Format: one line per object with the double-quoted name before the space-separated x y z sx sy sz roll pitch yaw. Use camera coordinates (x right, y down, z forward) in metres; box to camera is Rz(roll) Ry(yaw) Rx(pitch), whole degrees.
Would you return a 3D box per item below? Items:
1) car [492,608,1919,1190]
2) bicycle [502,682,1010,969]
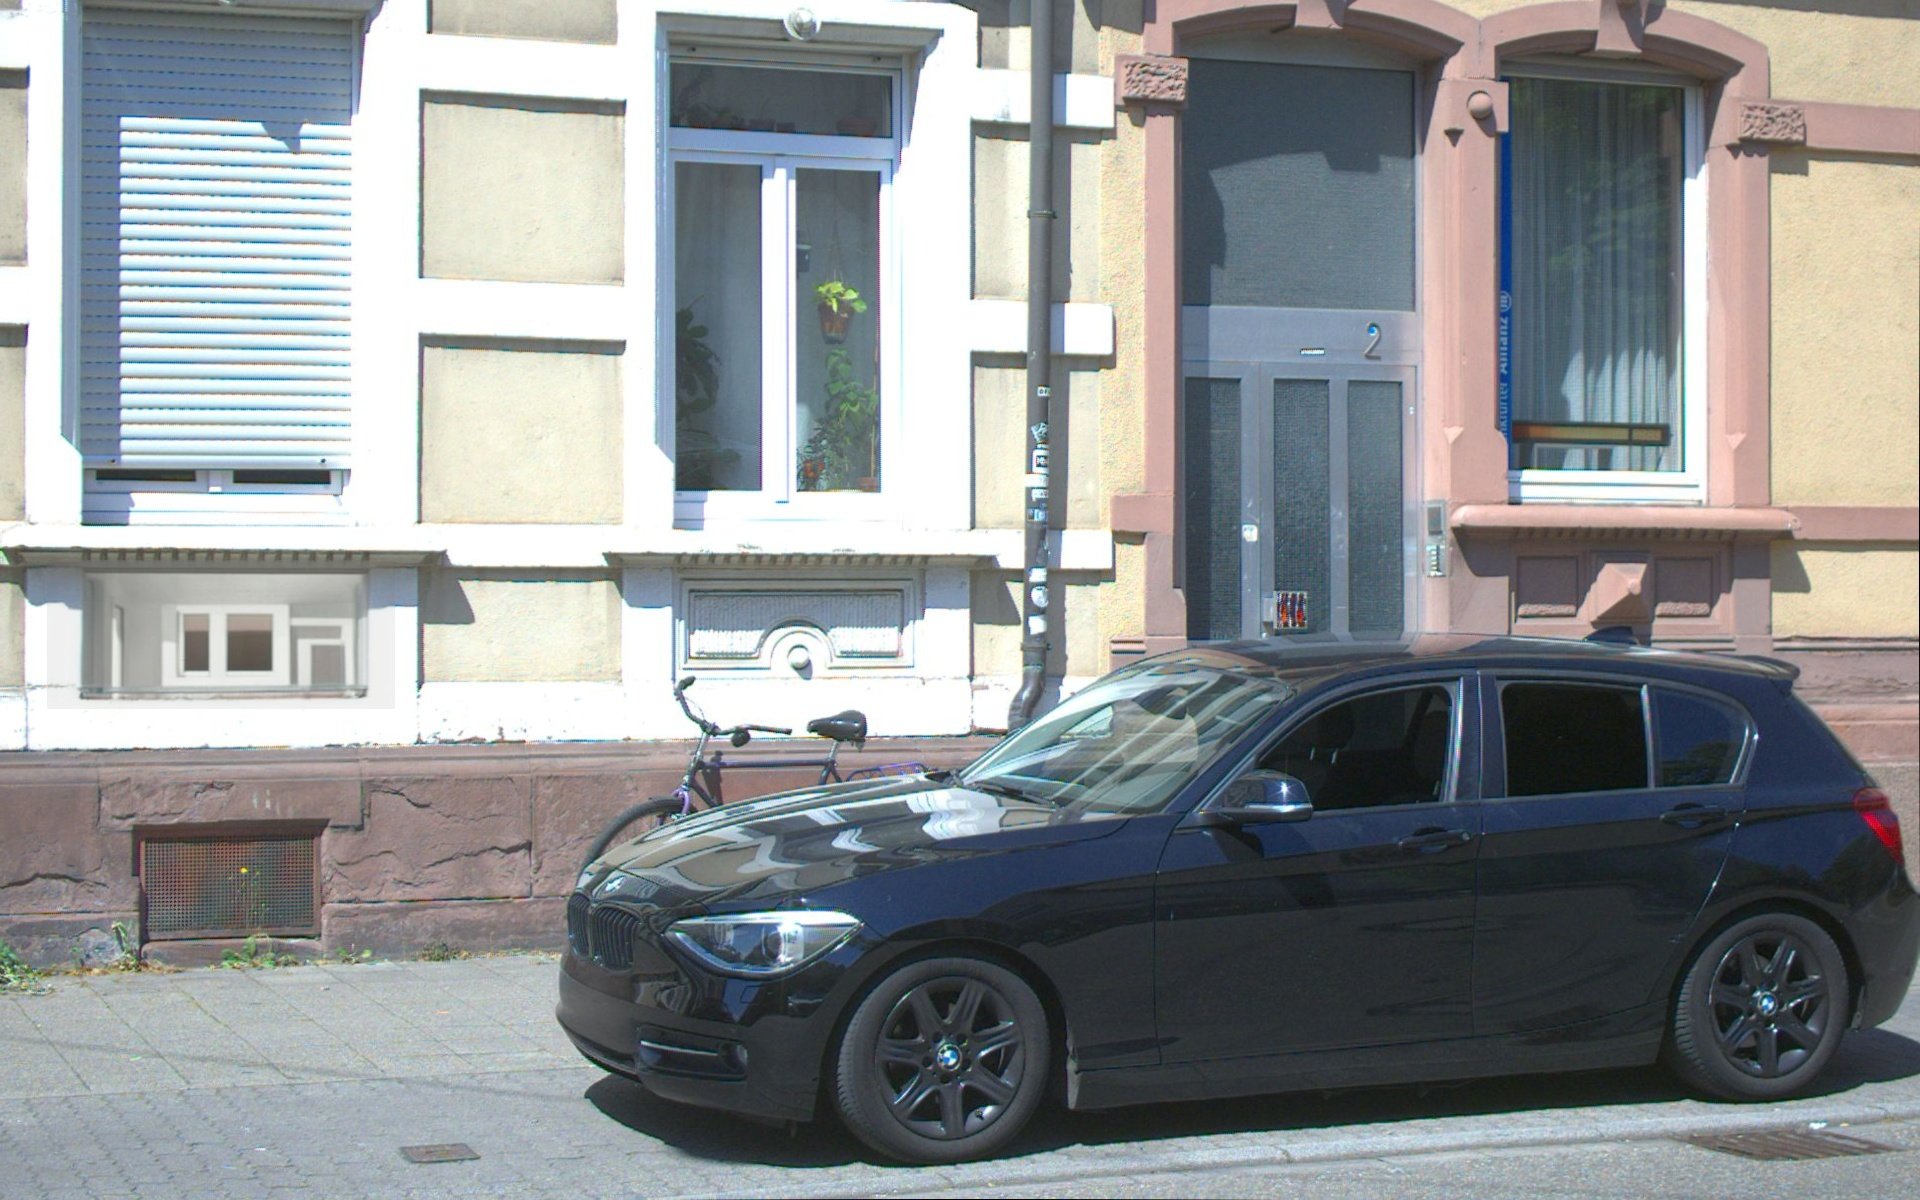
"car" 0.883 0.785 10.581 4.293 1.365 1.807 -1 3 -22
"bicycle" -0.801 0.876 13.730 2.004 1.018 0.424 -1 3 -24
